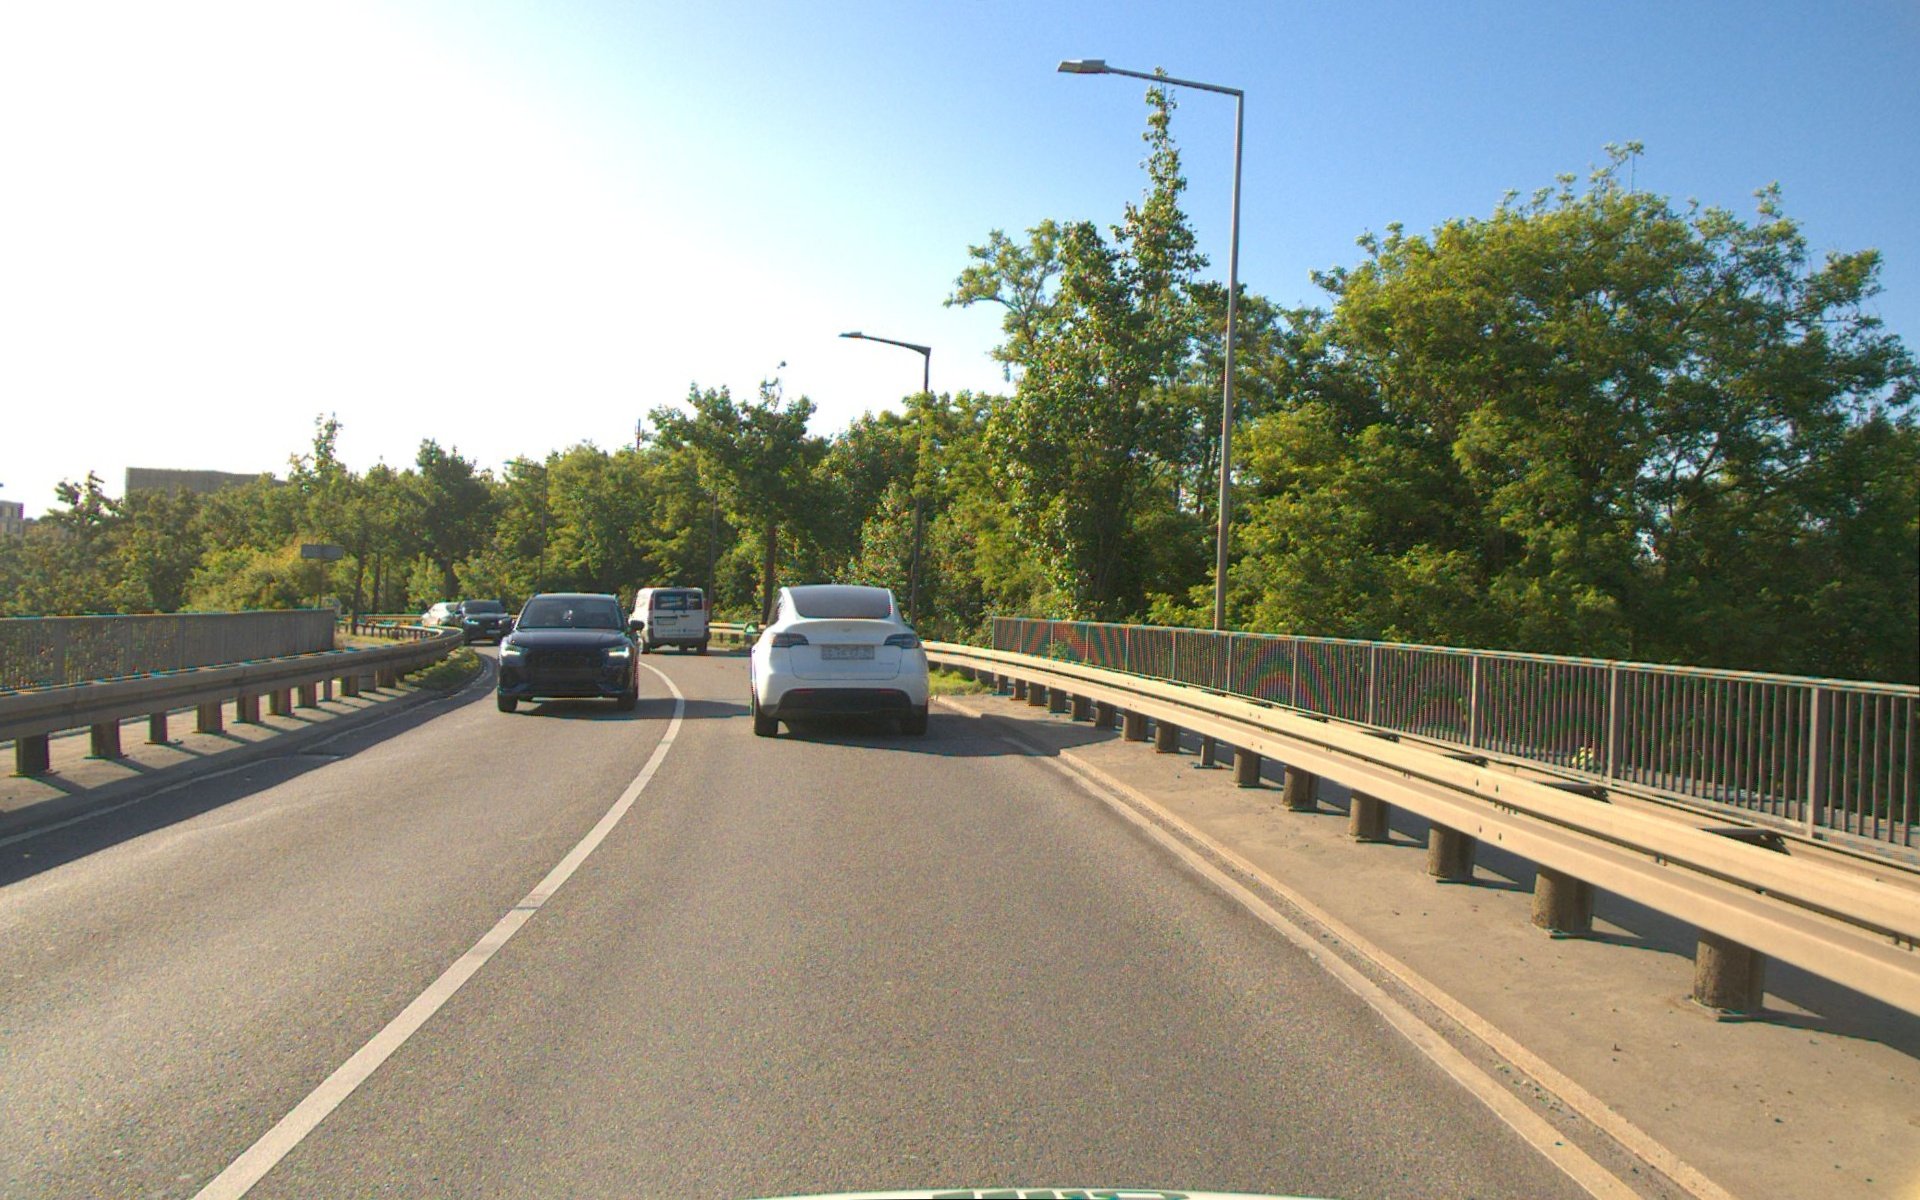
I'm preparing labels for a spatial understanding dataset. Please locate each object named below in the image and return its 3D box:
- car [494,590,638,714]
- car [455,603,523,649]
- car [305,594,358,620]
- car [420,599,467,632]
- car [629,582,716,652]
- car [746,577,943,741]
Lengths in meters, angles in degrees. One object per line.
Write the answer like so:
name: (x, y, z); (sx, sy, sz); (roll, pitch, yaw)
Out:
car: (-5.462, 0.654, 23.330); (1.791, 1.579, 4.173); (0, 0, -11)
car: (-17.928, 0.952, 62.826); (1.874, 1.671, 4.428); (0, 0, -25)
car: (-38.545, 0.413, 101.403); (1.826, 1.583, 3.833); (0, 0, -42)
car: (-26.095, 0.777, 83.490); (1.835, 1.612, 3.884); (0, 0, -24)
car: (-8.517, 0.468, 48.765); (1.974, 1.974, 4.445); (0, 0, -17)
car: (-1.433, 0.604, 18.965); (1.948, 1.666, 4.054); (0, 0, -9)
